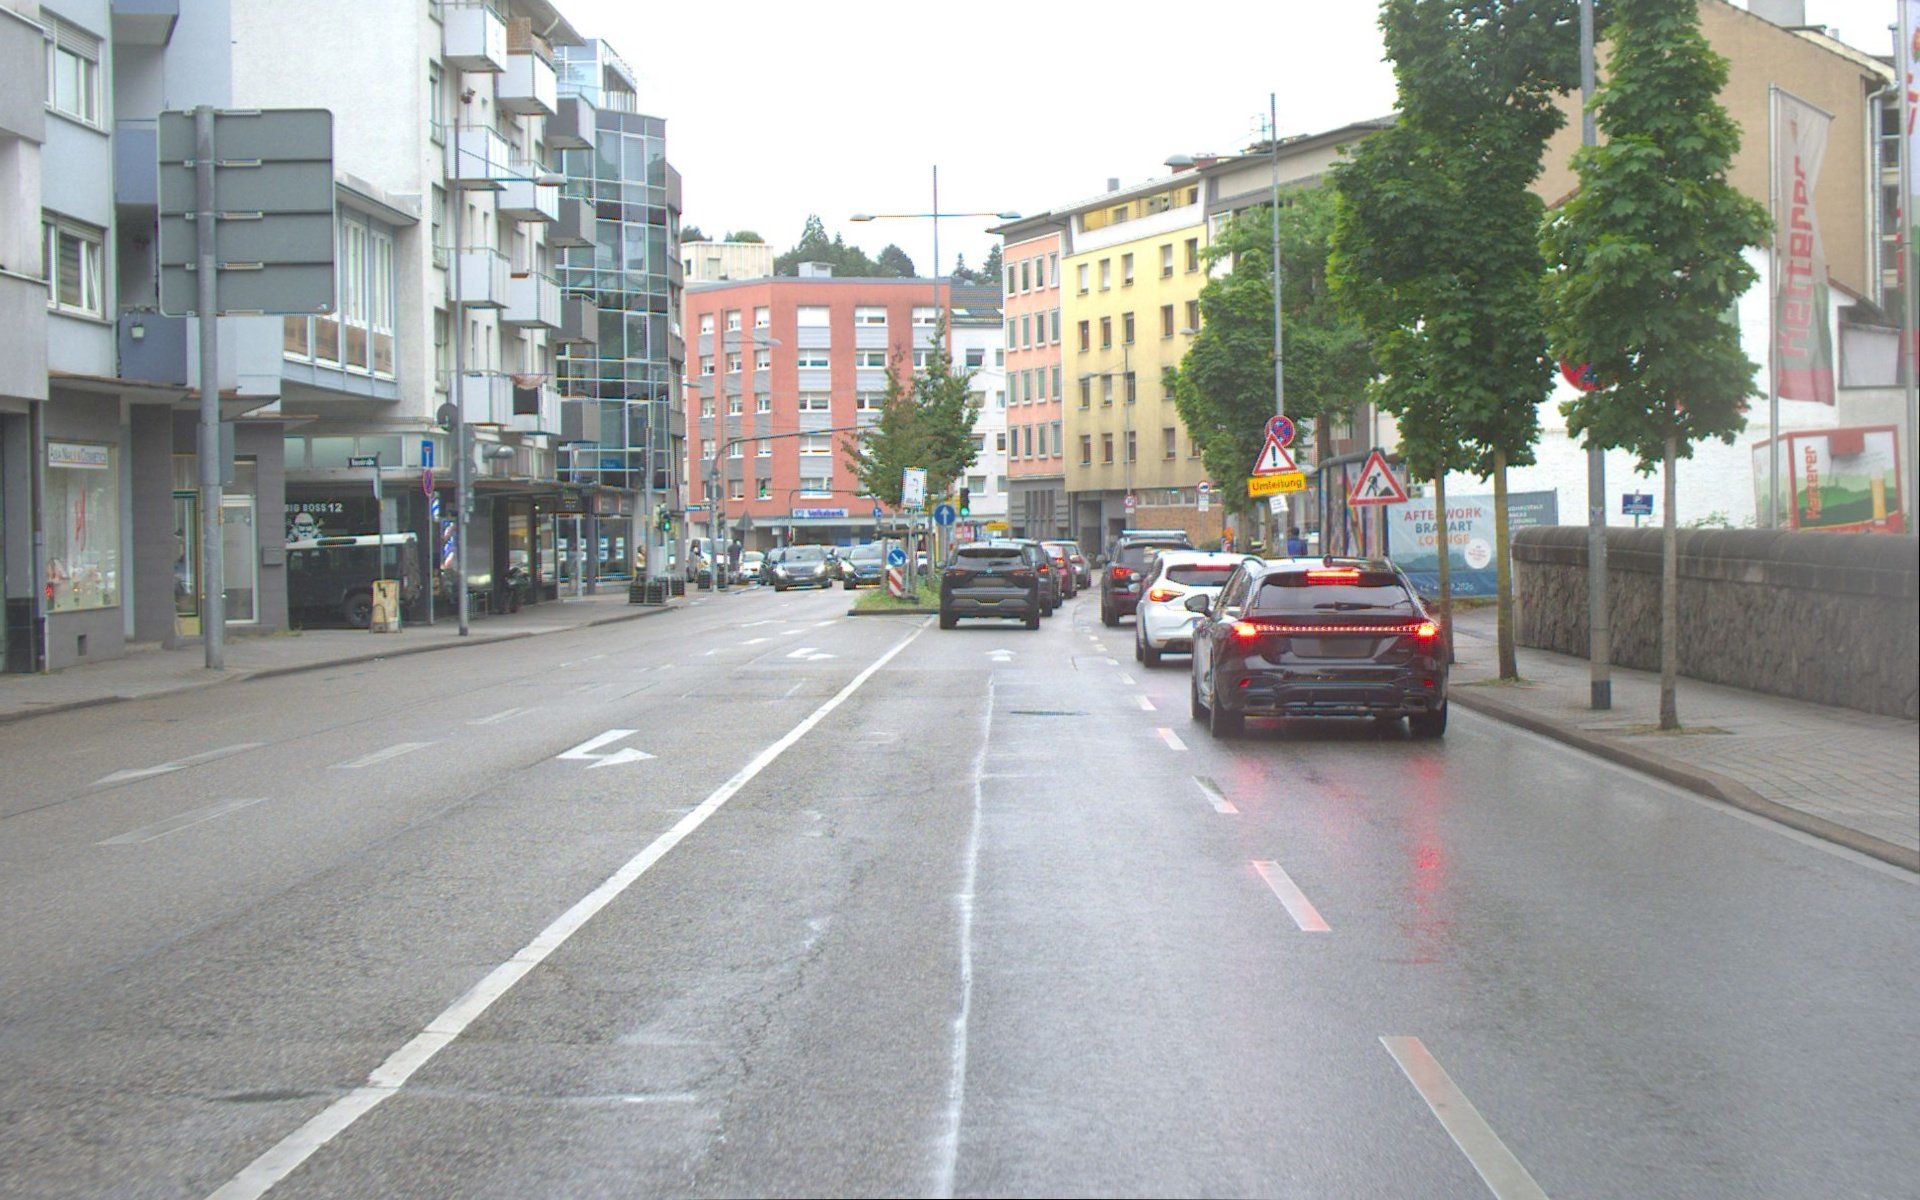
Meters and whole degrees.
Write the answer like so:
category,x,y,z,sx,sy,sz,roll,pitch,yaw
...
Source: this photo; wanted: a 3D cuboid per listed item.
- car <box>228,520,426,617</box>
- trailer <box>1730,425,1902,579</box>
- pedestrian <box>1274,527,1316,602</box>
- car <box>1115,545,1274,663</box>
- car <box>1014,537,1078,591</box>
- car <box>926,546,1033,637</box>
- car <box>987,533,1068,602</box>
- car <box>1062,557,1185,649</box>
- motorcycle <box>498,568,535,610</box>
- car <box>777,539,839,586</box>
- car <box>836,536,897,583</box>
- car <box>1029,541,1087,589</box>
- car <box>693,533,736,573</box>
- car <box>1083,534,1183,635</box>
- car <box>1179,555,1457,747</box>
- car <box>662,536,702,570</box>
category,x,y,z,sx,sy,sz,roll,pitch,yaw
car,-13.797,-0.685,75.026,3.963,2.027,1.580,-1,1,2
trailer,16.273,-1.870,65.649,2.127,2.707,5.391,-3,1,4
pedestrian,7.917,-0.842,81.262,0.792,1.749,0.871,-2,1,15
car,2.964,0.024,44.104,1.665,1.391,3.867,0,2,-2
car,2.322,-0.996,93.406,1.641,1.376,3.348,-2,1,0
car,0.386,-0.186,63.566,1.823,1.595,3.718,1,1,2
car,1.429,-0.708,73.753,1.641,1.376,3.348,-2,1,0
car,2.635,0.021,54.607,1.787,1.395,3.718,0,1,5
motorcycle,-10.952,-0.284,84.977,0.525,0.992,2.136,1,1,3
car,-5.229,-1.311,118.685,1.708,1.463,4.829,-3,1,2
car,-3.063,-1.350,113.763,1.720,1.418,4.165,-3,1,2
car,2.944,-1.061,103.695,1.641,1.376,3.348,-2,1,0
car,-10.057,-1.921,140.760,1.549,1.565,3.349,1,0,-8
car,3.343,-0.318,66.120,1.830,1.799,3.718,1,2,3
car,2.884,0.359,28.574,1.789,1.398,4.634,-2,1,0
car,-12.340,-2.075,152.565,1.455,1.425,3.371,1,2,-10
